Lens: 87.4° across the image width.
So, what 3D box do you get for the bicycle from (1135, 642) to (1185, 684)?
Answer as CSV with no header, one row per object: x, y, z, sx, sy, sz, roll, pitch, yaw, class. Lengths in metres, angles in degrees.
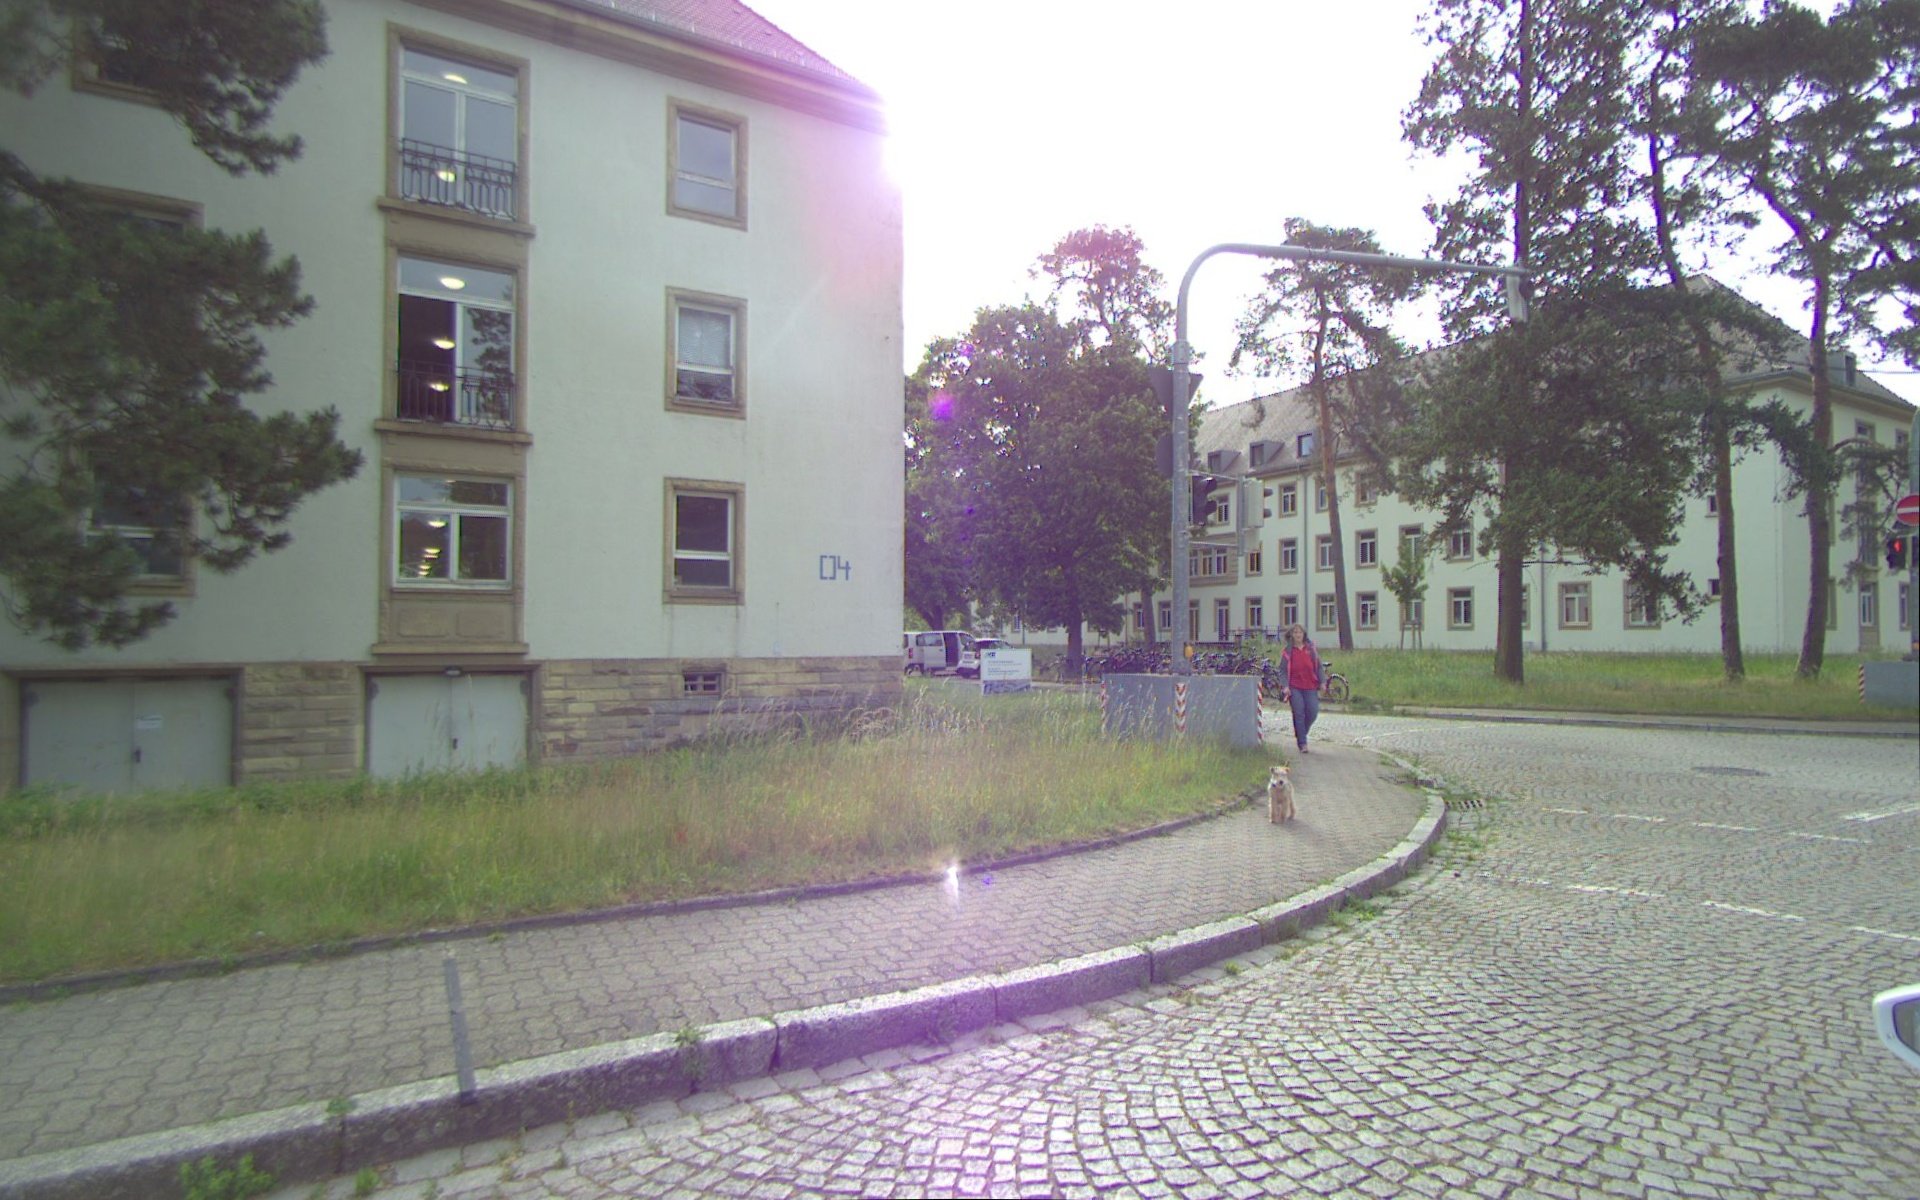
6.211,1.940,31.189,1.676,1.300,0.447,1,-2,-31,bicycle

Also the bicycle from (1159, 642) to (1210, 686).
6.780,1.933,30.342,1.676,1.300,0.447,1,-2,-31,bicycle

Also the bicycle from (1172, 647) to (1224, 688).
7.036,1.976,29.666,1.676,1.193,0.447,1,-2,-31,bicycle

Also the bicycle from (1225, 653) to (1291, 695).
8.250,2.025,27.743,1.974,1.092,0.572,1,-2,-31,bicycle

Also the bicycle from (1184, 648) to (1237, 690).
7.289,1.985,29.252,1.676,1.193,0.447,1,-2,-31,bicycle

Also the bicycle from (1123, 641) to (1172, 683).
5.918,1.945,31.668,1.676,1.300,0.447,1,-2,-31,bicycle

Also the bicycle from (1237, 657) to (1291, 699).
7.752,1.970,25.668,0.447,1.009,1.453,1,-2,-28,bicycle

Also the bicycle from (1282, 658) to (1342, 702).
8.514,1.913,24.349,0.447,1.009,1.453,1,-2,-28,bicycle

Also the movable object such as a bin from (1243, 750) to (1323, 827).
2.706,1.559,8.392,0.437,0.510,0.750,-2,-3,34,movable object such as a bin

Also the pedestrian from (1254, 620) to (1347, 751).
4.546,1.125,13.463,0.922,1.690,0.862,0,-2,-3,pedestrian

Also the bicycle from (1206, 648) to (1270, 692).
7.846,1.963,28.310,1.932,1.193,0.572,1,-2,-31,bicycle

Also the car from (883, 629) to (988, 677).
-1.031,2.230,42.559,4.086,1.932,1.831,1,-3,-30,car

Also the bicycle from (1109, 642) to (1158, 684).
5.571,2.004,32.233,1.676,1.300,0.447,1,-2,-31,bicycle

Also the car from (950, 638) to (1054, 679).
1.718,2.345,40.817,3.850,1.576,1.831,1,-2,-30,car

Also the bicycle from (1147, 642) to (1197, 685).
6.499,1.936,30.761,1.676,1.300,0.447,1,-2,-31,bicycle

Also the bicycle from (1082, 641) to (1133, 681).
4.925,2.019,33.499,1.807,1.300,0.447,1,-2,-31,bicycle

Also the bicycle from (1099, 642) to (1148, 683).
5.324,2.008,32.651,1.676,1.300,0.447,1,-2,-31,bicycle

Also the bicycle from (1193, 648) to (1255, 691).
7.587,1.969,28.834,1.908,1.193,0.525,1,-2,-31,bicycle

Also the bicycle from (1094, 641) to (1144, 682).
5.264,2.018,33.161,1.765,1.300,0.440,1,-2,-31,bicycle
